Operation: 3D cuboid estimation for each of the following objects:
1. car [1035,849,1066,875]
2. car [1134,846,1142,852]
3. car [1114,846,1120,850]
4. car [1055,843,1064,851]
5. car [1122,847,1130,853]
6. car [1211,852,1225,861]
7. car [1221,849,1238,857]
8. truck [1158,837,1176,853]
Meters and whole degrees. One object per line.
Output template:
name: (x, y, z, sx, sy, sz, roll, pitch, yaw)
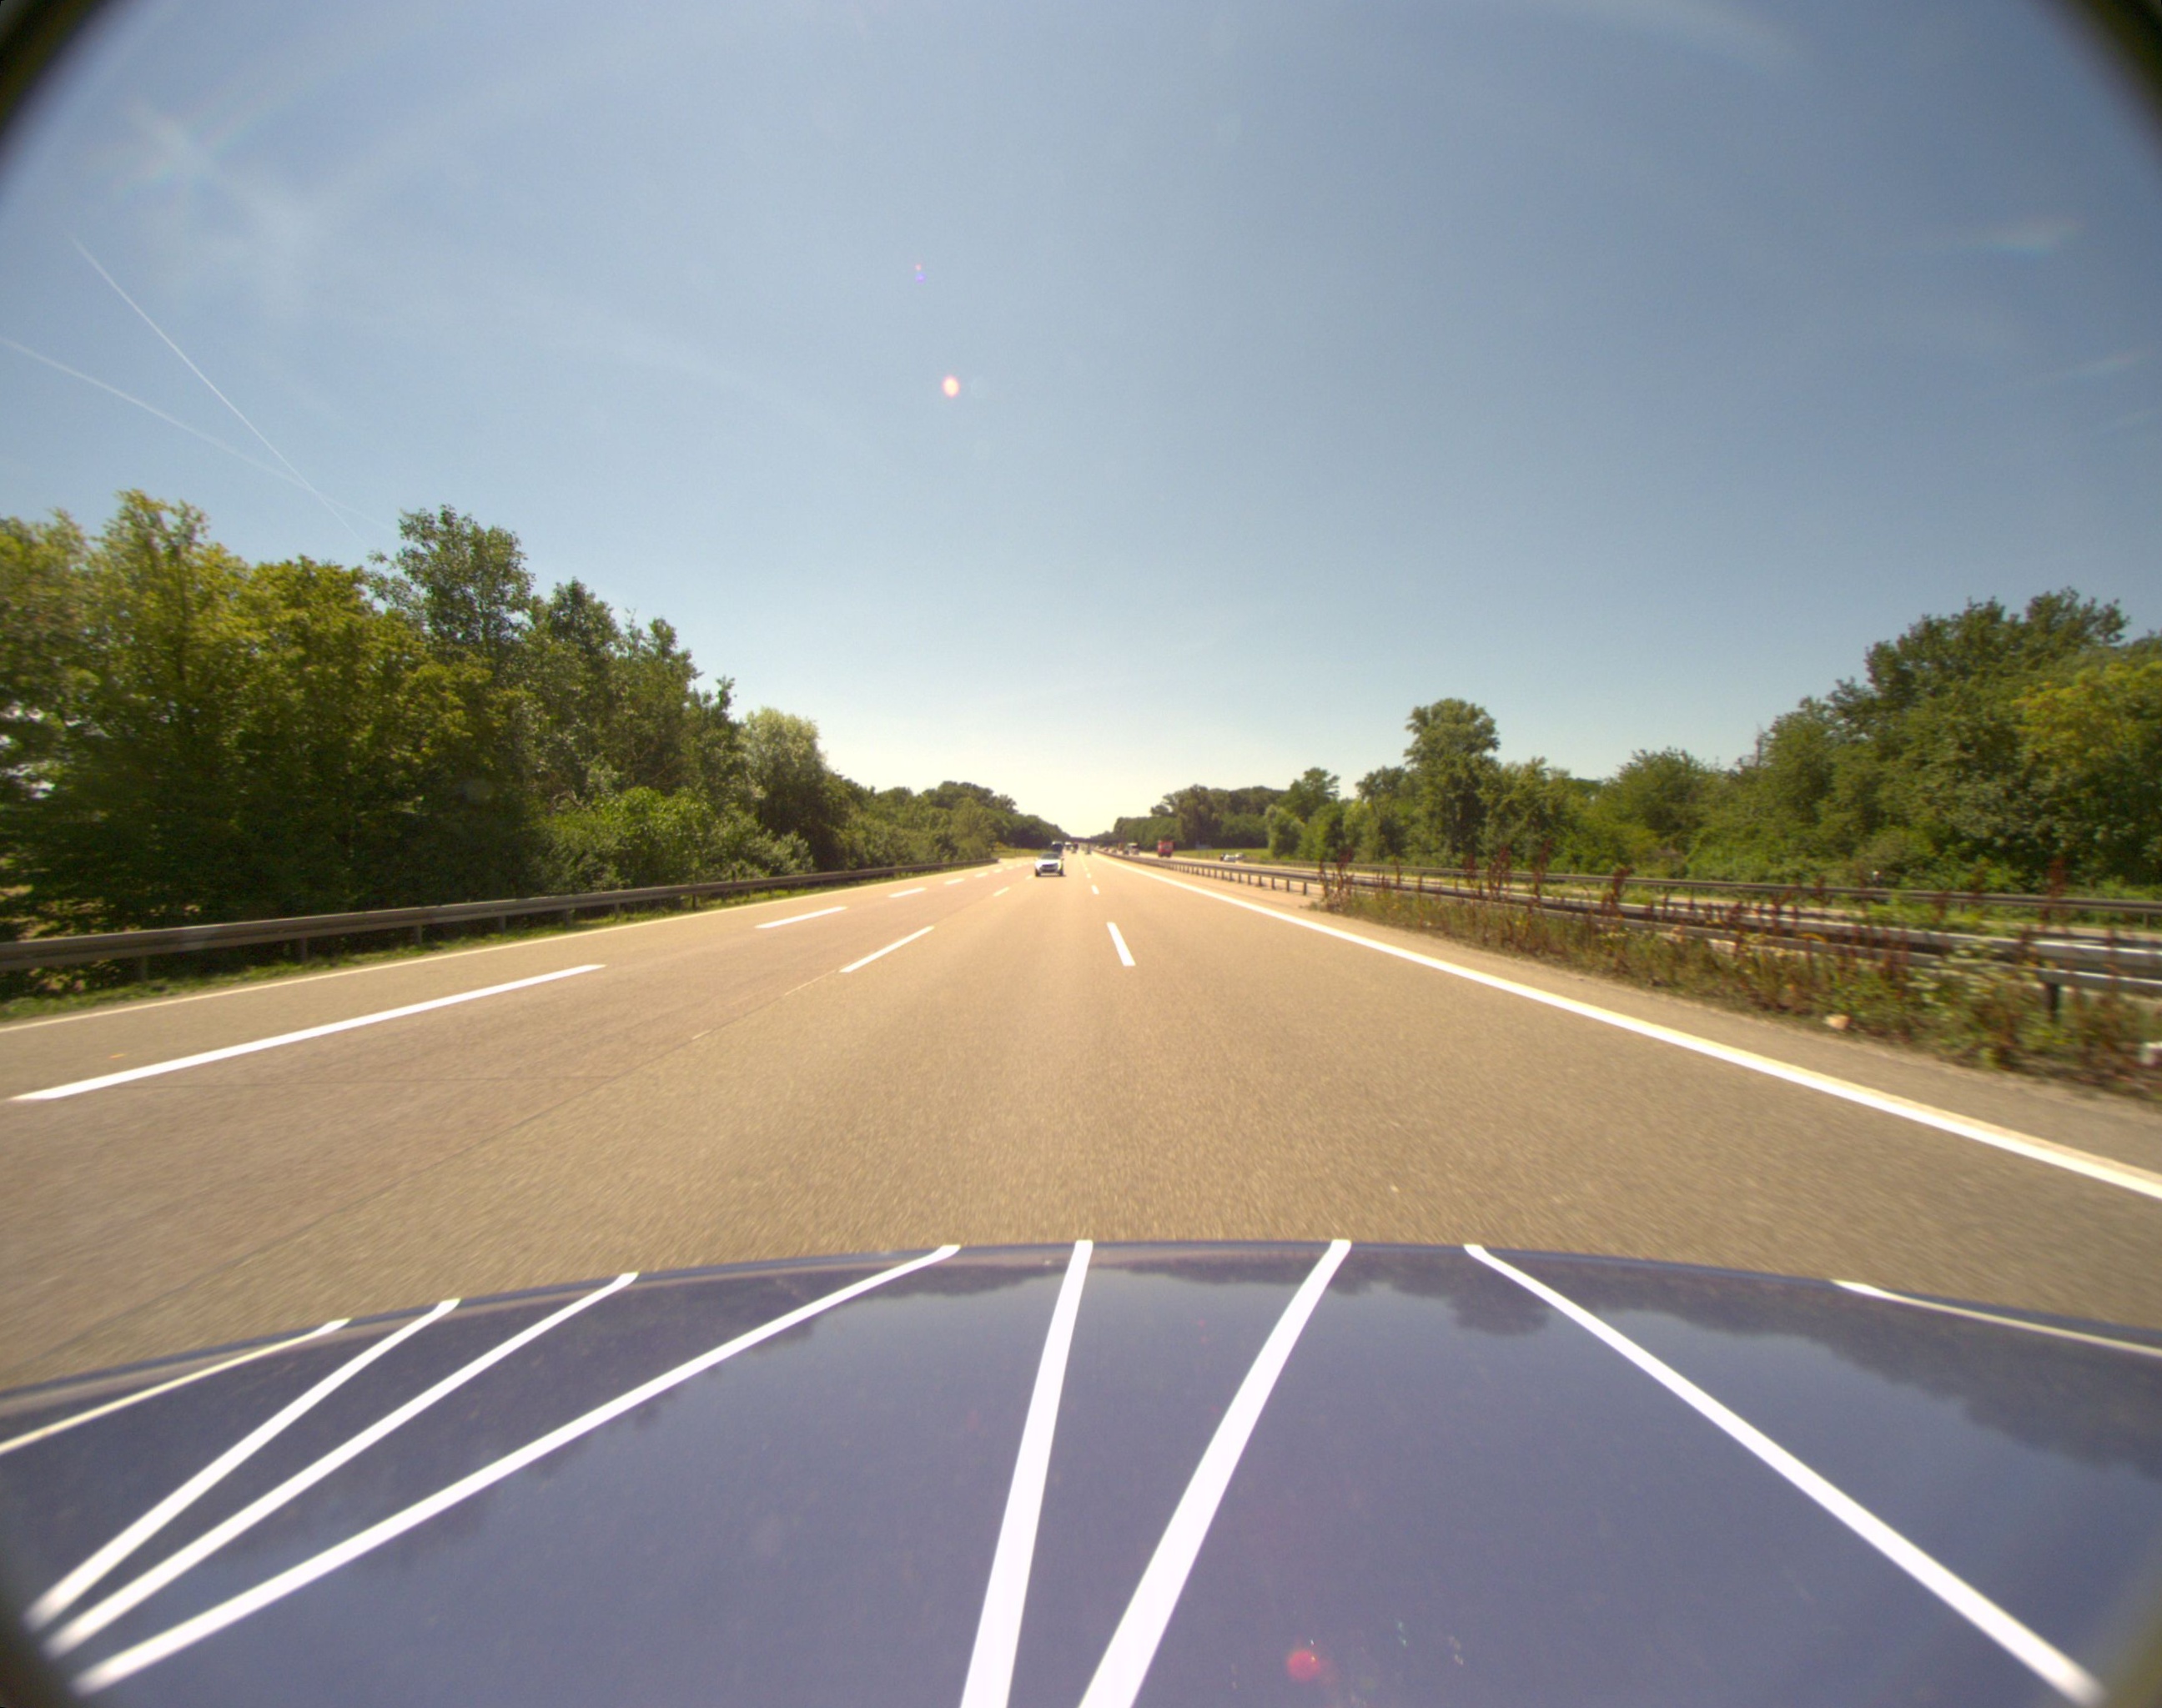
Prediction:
car: (-1.964, 0.505, 49.938, 1.845, 1.565, 3.999, -1, 1, 0)
car: (16.094, -1.526, 214.823, 1.998, 1.617, 4.543, 1, 1, 1)
car: (12.233, -2.037, 259.476, 1.998, 1.543, 5.223, 0, 1, 1)
car: (-5.594, -1.792, 194.771, 2.300, 2.002, 4.794, 0, 1, -1)
car: (12.343, -1.119, 207.471, 1.901, 1.497, 4.116, 0, 1, -1)
car: (26.211, 0.430, 145.301, 1.998, 1.569, 4.268, 0, 1, 2)
car: (25.952, -0.162, 133.064, 1.998, 1.404, 4.972, 0, 1, 1)
truck: (19.732, -2.067, 174.606, 3.072, 3.705, 9.804, 0, 1, 0)
